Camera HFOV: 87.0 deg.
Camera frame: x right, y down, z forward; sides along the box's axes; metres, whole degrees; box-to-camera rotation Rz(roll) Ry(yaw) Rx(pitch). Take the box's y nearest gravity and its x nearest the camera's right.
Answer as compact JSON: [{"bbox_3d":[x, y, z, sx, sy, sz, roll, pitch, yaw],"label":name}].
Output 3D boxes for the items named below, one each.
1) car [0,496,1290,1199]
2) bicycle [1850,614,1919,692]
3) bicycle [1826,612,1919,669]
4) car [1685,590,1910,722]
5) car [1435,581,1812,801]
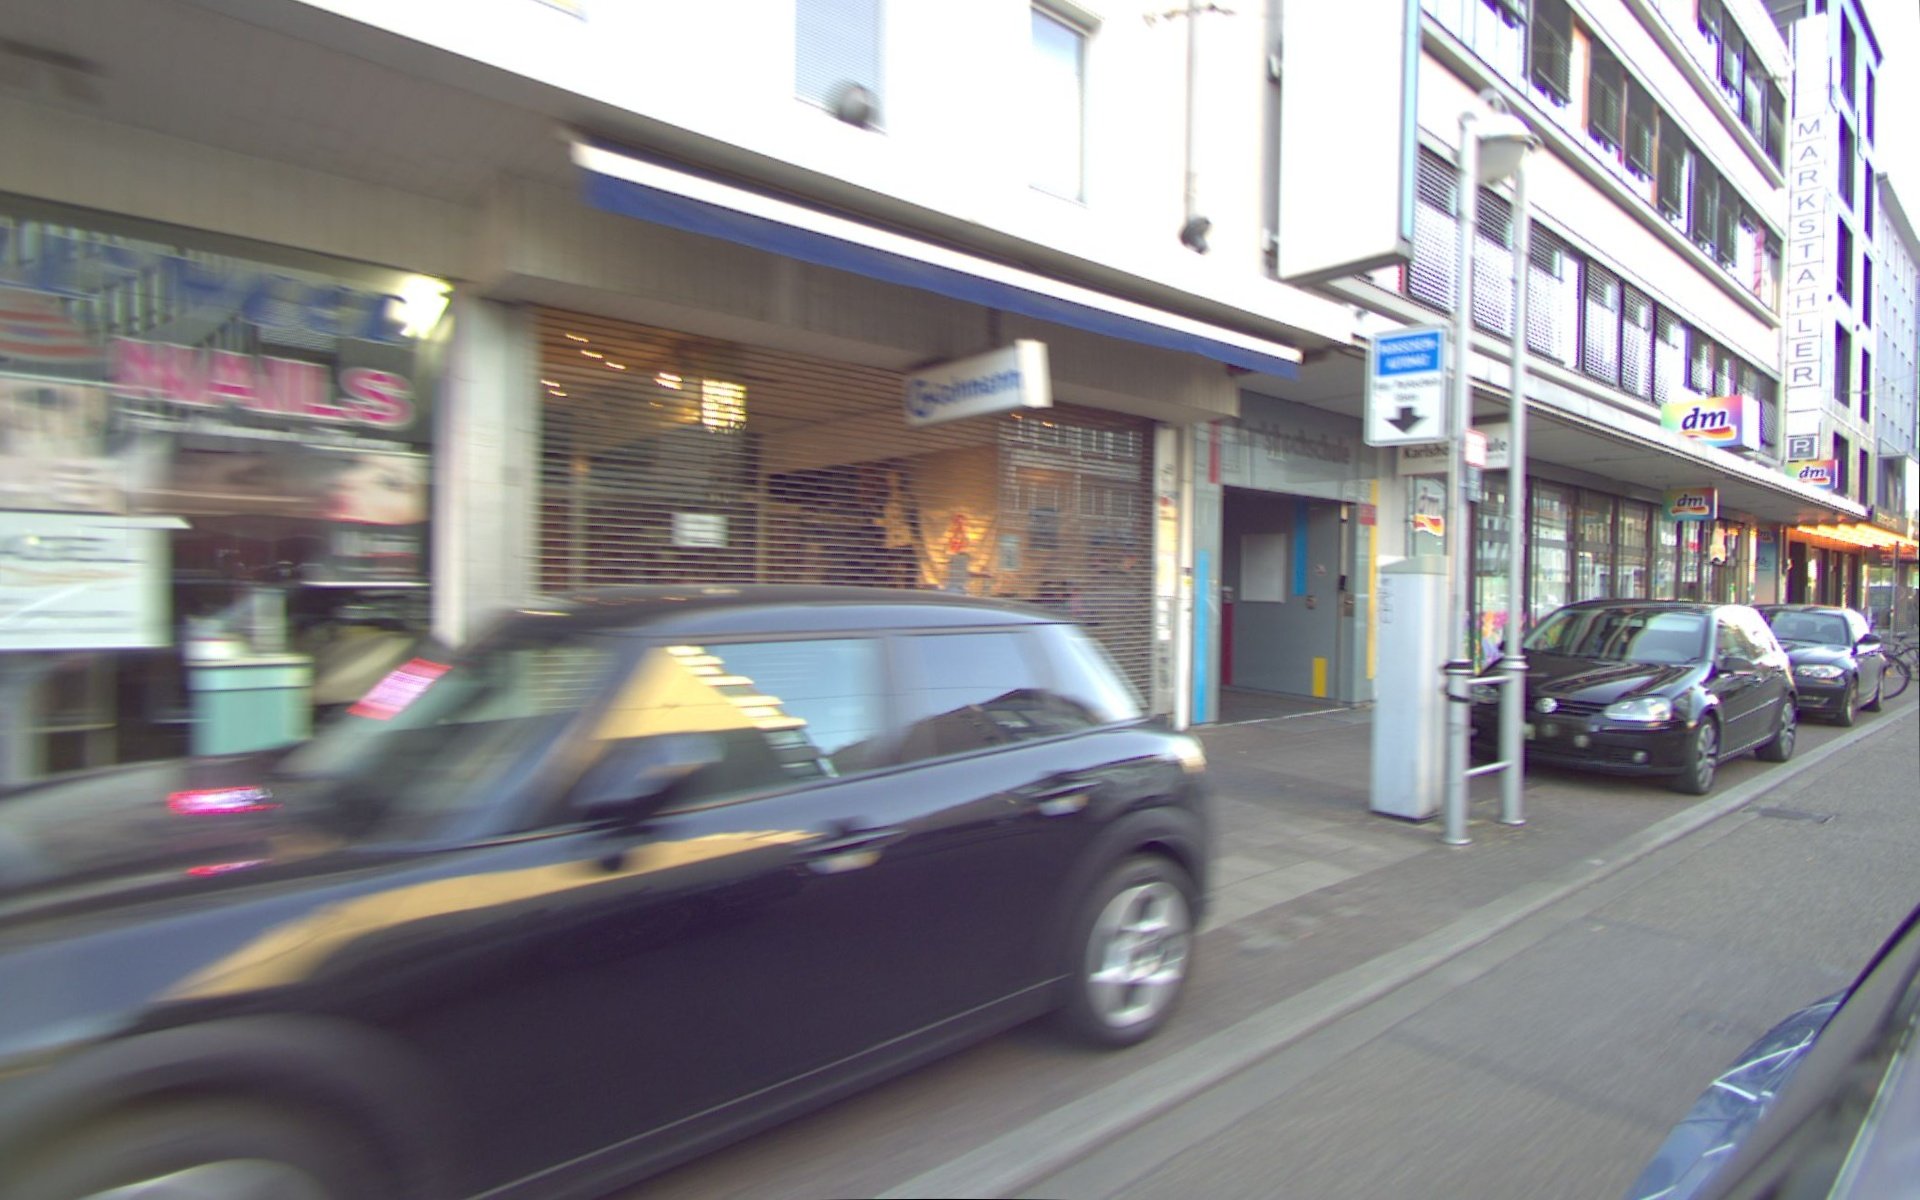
[{"bbox_3d":[-0.858,0.590,3.041,3.930,1.500,1.729,-1,0,-41],"label":"car"},{"bbox_3d":[14.617,0.810,15.196,0.631,1.123,1.841,0,1,-43],"label":"bicycle"},{"bbox_3d":[18.212,0.795,19.819,0.566,0.984,1.797,0,3,-43],"label":"bicycle"},{"bbox_3d":[11.189,0.624,13.432,3.952,1.481,1.657,-1,0,-41],"label":"car"},{"bbox_3d":[6.030,0.615,9.022,4.000,1.532,1.768,-1,0,-41],"label":"car"}]
